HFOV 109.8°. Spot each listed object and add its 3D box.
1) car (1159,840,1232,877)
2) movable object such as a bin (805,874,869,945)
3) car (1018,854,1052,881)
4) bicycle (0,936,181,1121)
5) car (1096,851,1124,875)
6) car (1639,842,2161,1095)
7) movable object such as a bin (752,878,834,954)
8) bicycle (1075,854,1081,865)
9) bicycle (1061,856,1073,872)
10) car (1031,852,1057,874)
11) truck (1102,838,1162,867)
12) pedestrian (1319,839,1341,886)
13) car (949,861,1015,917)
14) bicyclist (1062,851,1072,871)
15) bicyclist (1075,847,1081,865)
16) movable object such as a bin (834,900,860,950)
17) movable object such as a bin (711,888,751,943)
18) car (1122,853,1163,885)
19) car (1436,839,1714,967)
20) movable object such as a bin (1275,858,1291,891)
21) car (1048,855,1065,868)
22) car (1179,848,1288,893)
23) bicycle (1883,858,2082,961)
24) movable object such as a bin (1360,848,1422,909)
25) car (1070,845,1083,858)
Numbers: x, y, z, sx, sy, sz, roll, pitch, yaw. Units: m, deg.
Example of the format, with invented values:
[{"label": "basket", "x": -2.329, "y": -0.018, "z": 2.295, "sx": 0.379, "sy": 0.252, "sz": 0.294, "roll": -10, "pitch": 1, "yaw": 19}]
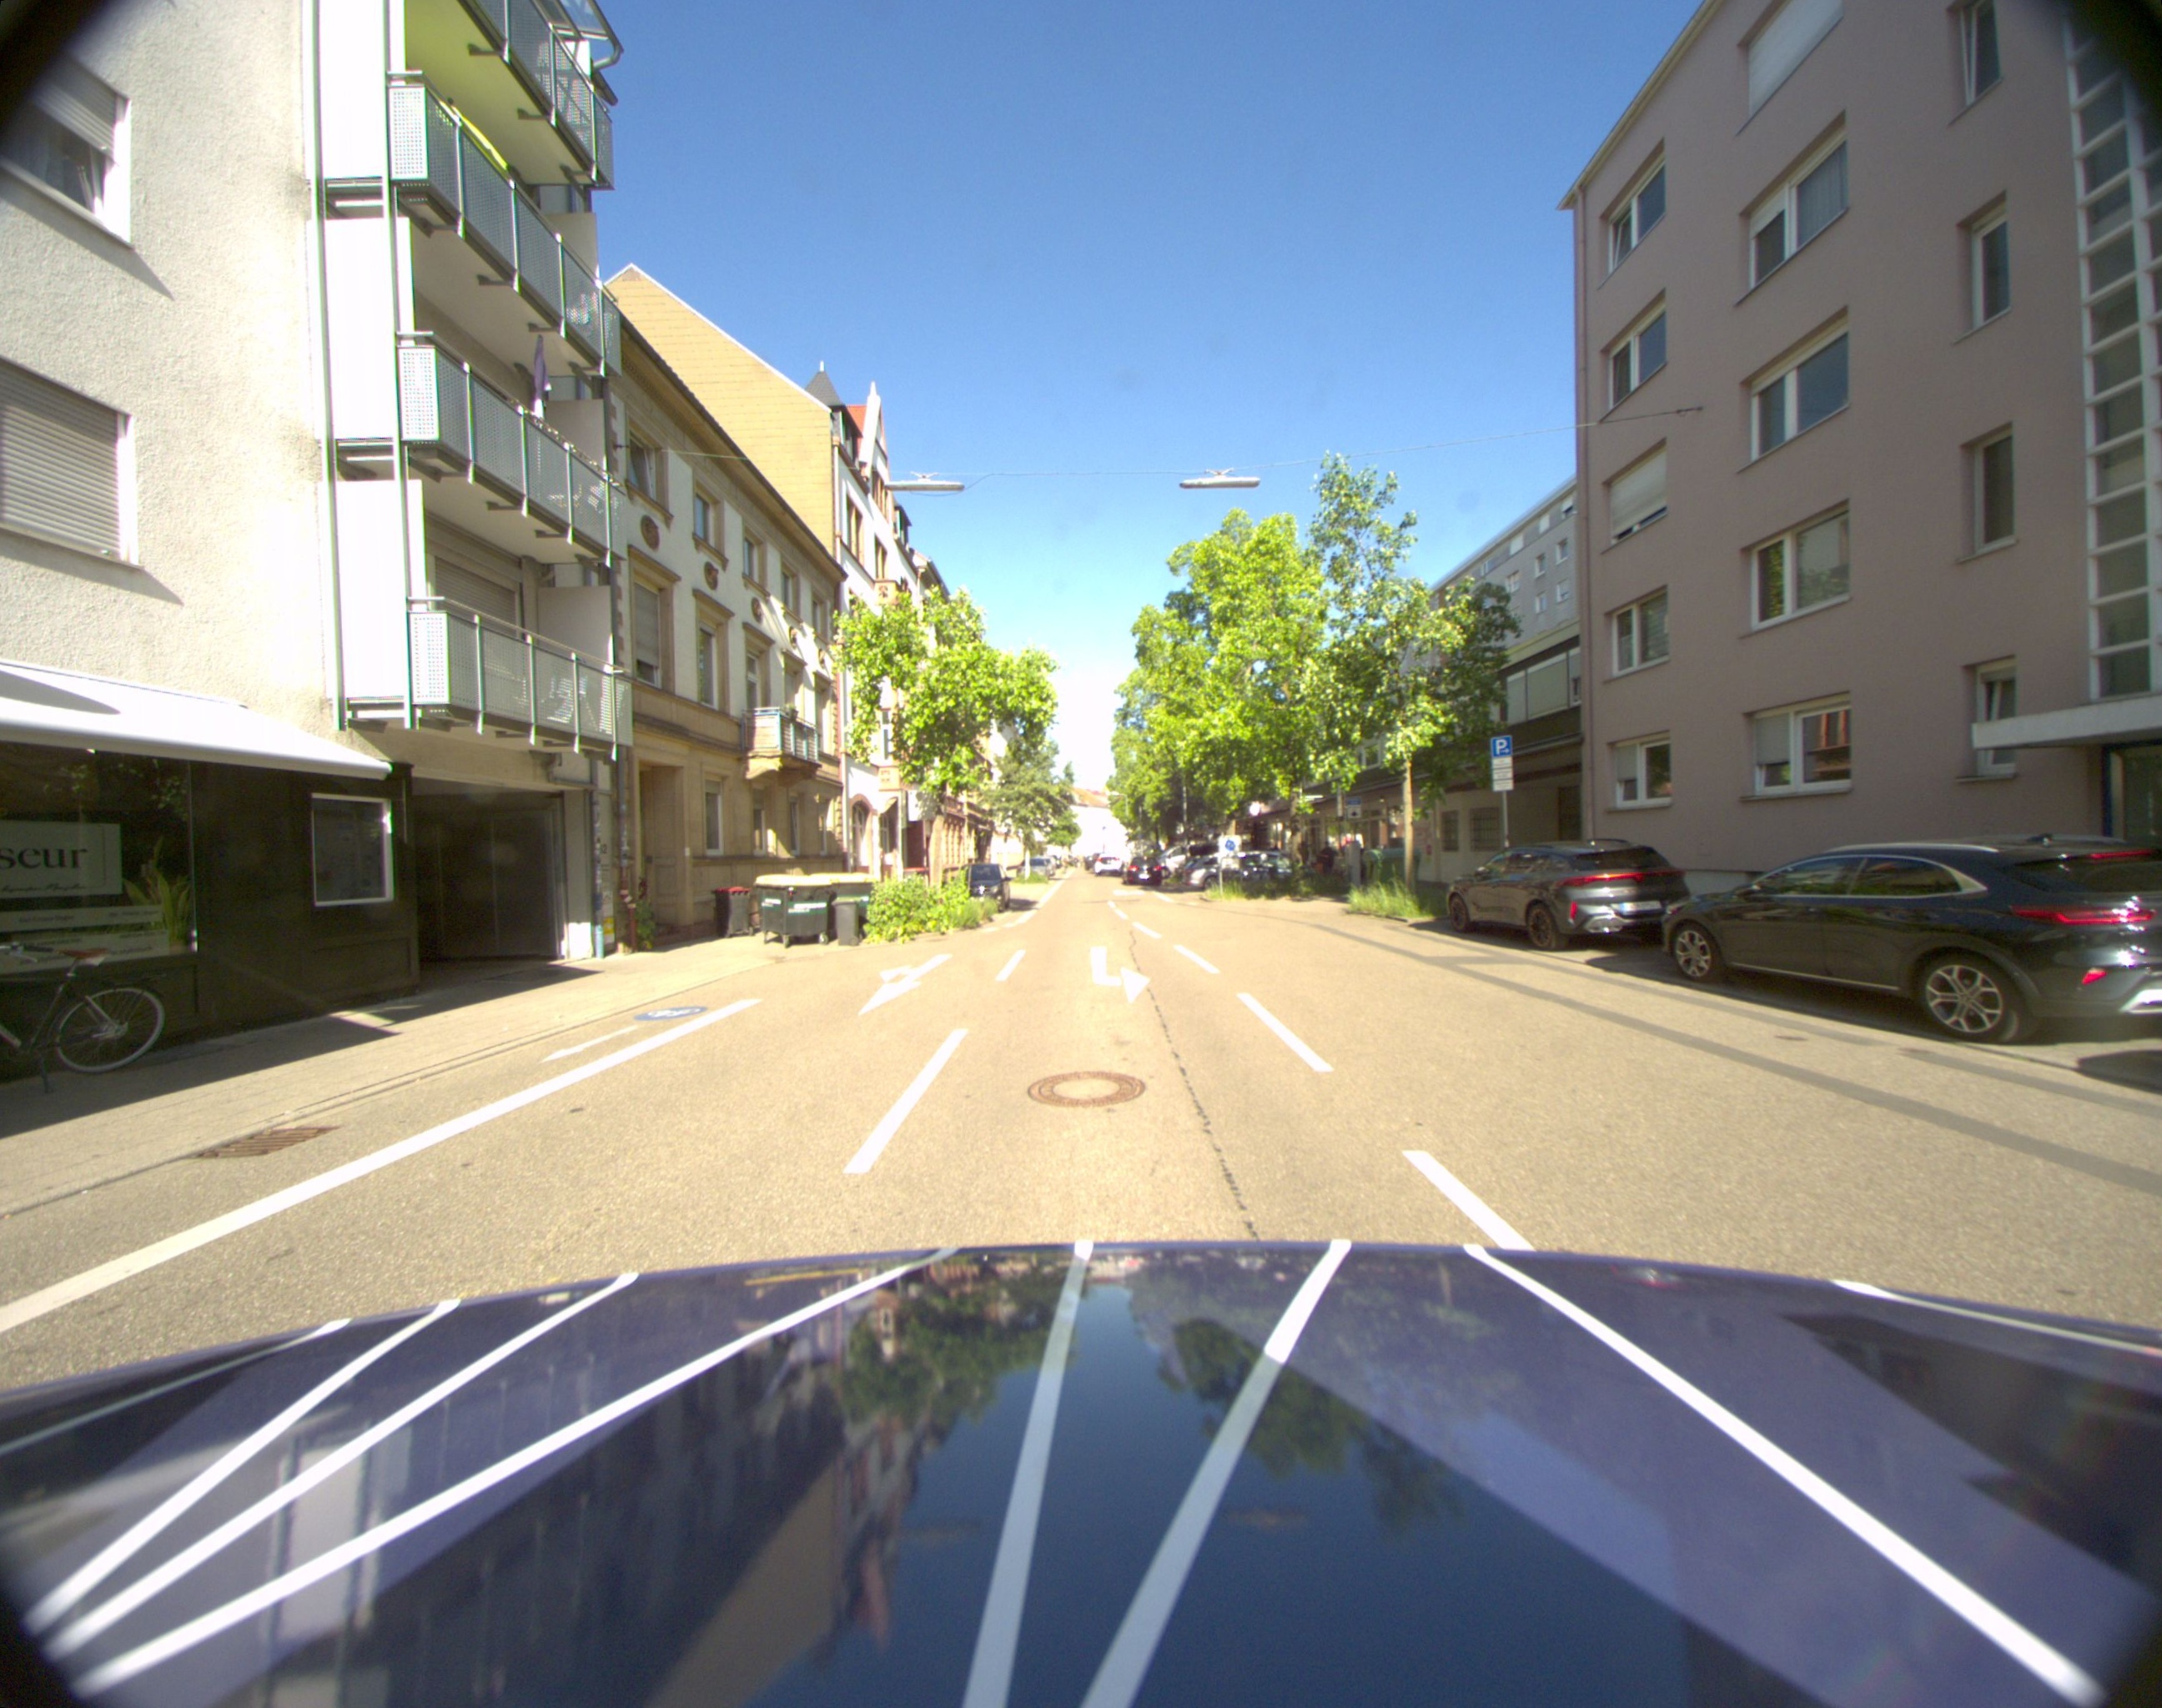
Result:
[{"label": "car", "x": 6.698, "y": 0.268, "z": 44.776, "sx": 3.997, "sy": 2.020, "sz": 2.000, "roll": -2, "pitch": 1, "yaw": 1}, {"label": "movable object such as a bin", "x": -5.091, "y": 1.124, "z": 15.853, "sx": 0.960, "sy": 1.341, "sz": 1.066, "roll": -1, "pitch": 2, "yaw": -38}, {"label": "car", "x": -2.753, "y": 0.769, "z": 45.887, "sx": 1.759, "sy": 1.492, "sz": 3.949, "roll": -2, "pitch": 0, "yaw": 0}, {"label": "bicycle", "x": -7.750, "y": 1.282, "z": 5.445, "sx": 0.402, "sy": 1.171, "sz": 1.792, "roll": -2, "pitch": 0, "yaw": 1}, {"label": "car", "x": 1.942, "y": 0.578, "z": 52.378, "sx": 1.770, "sy": 1.528, "sz": 3.786, "roll": -1, "pitch": 0, "yaw": 1}, {"label": "car", "x": 7.511, "y": 0.709, "z": 6.895, "sx": 1.821, "sy": 1.499, "sz": 4.245, "roll": -4, "pitch": 0, "yaw": 2}, {"label": "movable object such as a bin", "x": -5.594, "y": 1.162, "z": 14.776, "sx": 1.212, "sy": 1.318, "sz": 1.052, "roll": 2, "pitch": 3, "yaw": 42}, {"label": "bicycle", "x": -0.319, "y": 0.611, "z": 85.249, "sx": 0.570, "sy": 1.139, "sz": 2.259, "roll": -3, "pitch": 1, "yaw": 1}, {"label": "bicycle", "x": -1.116, "y": 0.810, "z": 61.015, "sx": 0.778, "sy": 1.139, "sz": 2.259, "roll": -3, "pitch": 1, "yaw": 1}, {"label": "car", "x": -2.641, "y": 0.658, "z": 55.202, "sx": 1.653, "sy": 1.483, "sz": 3.290, "roll": -2, "pitch": 0, "yaw": 0}, {"label": "truck", "x": 4.766, "y": -0.159, "z": 71.532, "sx": 5.322, "sy": 2.581, "sz": 1.998, "roll": -2, "pitch": 1, "yaw": -9}, {"label": "pedestrian", "x": 10.810, "y": 0.356, "z": 32.974, "sx": 0.753, "sy": 2.002, "sz": 0.566, "roll": -1, "pitch": 1, "yaw": 1}, {"label": "car", "x": -2.975, "y": 1.014, "z": 23.364, "sx": 1.551, "sy": 1.483, "sz": 3.351, "roll": -2, "pitch": 0, "yaw": 0}, {"label": "bicyclist", "x": -1.125, "y": 0.582, "z": 61.028, "sx": 0.748, "sy": 1.588, "sz": 0.613, "roll": -3, "pitch": 1, "yaw": 1}, {"label": "bicyclist", "x": -0.338, "y": 0.232, "z": 85.266, "sx": 0.578, "sy": 1.911, "sz": 0.613, "roll": -3, "pitch": 1, "yaw": 1}, {"label": "movable object such as a bin", "x": -4.584, "y": 1.385, "z": 14.888, "sx": 0.401, "sy": 0.916, "sz": 0.484, "roll": 0, "pitch": 2, "yaw": -7}, {"label": "movable object such as a bin", "x": -7.324, "y": 1.273, "z": 15.891, "sx": 0.615, "sy": 1.075, "sz": 0.568, "roll": 2, "pitch": 3, "yaw": 42}, {"label": "car", "x": 3.038, "y": 0.730, "z": 38.264, "sx": 1.867, "sy": 1.455, "sz": 4.000, "roll": -1, "pitch": 0, "yaw": 3}, {"label": "car", "x": 7.585, "y": 0.647, "z": 12.257, "sx": 1.821, "sy": 1.583, "sz": 4.141, "roll": -5, "pitch": 0, "yaw": 2}, {"label": "movable object such as a bin", "x": 7.613, "y": 0.786, "z": 28.676, "sx": 0.488, "sy": 1.218, "sz": 0.409, "roll": -2, "pitch": 1, "yaw": 1}, {"label": "car", "x": -2.742, "y": 0.851, "z": 85.965, "sx": 1.653, "sy": 1.447, "sz": 3.290, "roll": -2, "pitch": 0, "yaw": 1}, {"label": "car", "x": 6.082, "y": 0.638, "z": 30.669, "sx": 3.997, "sy": 1.665, "sz": 2.000, "roll": -2, "pitch": 1, "yaw": 1}, {"label": "bicycle", "x": 10.756, "y": 0.617, "z": 9.155, "sx": 0.391, "sy": 1.070, "sz": 1.650, "roll": -6, "pitch": 1, "yaw": 2}, {"label": "movable object such as a bin", "x": 8.129, "y": 0.638, "z": 19.993, "sx": 1.247, "sy": 1.536, "sz": 1.019, "roll": -2, "pitch": 1, "yaw": 5}, {"label": "car", "x": -0.696, "y": -0.457, "z": 126.484, "sx": 1.998, "sy": 2.002, "sz": 4.000, "roll": -2, "pitch": 0, "yaw": 1}]
